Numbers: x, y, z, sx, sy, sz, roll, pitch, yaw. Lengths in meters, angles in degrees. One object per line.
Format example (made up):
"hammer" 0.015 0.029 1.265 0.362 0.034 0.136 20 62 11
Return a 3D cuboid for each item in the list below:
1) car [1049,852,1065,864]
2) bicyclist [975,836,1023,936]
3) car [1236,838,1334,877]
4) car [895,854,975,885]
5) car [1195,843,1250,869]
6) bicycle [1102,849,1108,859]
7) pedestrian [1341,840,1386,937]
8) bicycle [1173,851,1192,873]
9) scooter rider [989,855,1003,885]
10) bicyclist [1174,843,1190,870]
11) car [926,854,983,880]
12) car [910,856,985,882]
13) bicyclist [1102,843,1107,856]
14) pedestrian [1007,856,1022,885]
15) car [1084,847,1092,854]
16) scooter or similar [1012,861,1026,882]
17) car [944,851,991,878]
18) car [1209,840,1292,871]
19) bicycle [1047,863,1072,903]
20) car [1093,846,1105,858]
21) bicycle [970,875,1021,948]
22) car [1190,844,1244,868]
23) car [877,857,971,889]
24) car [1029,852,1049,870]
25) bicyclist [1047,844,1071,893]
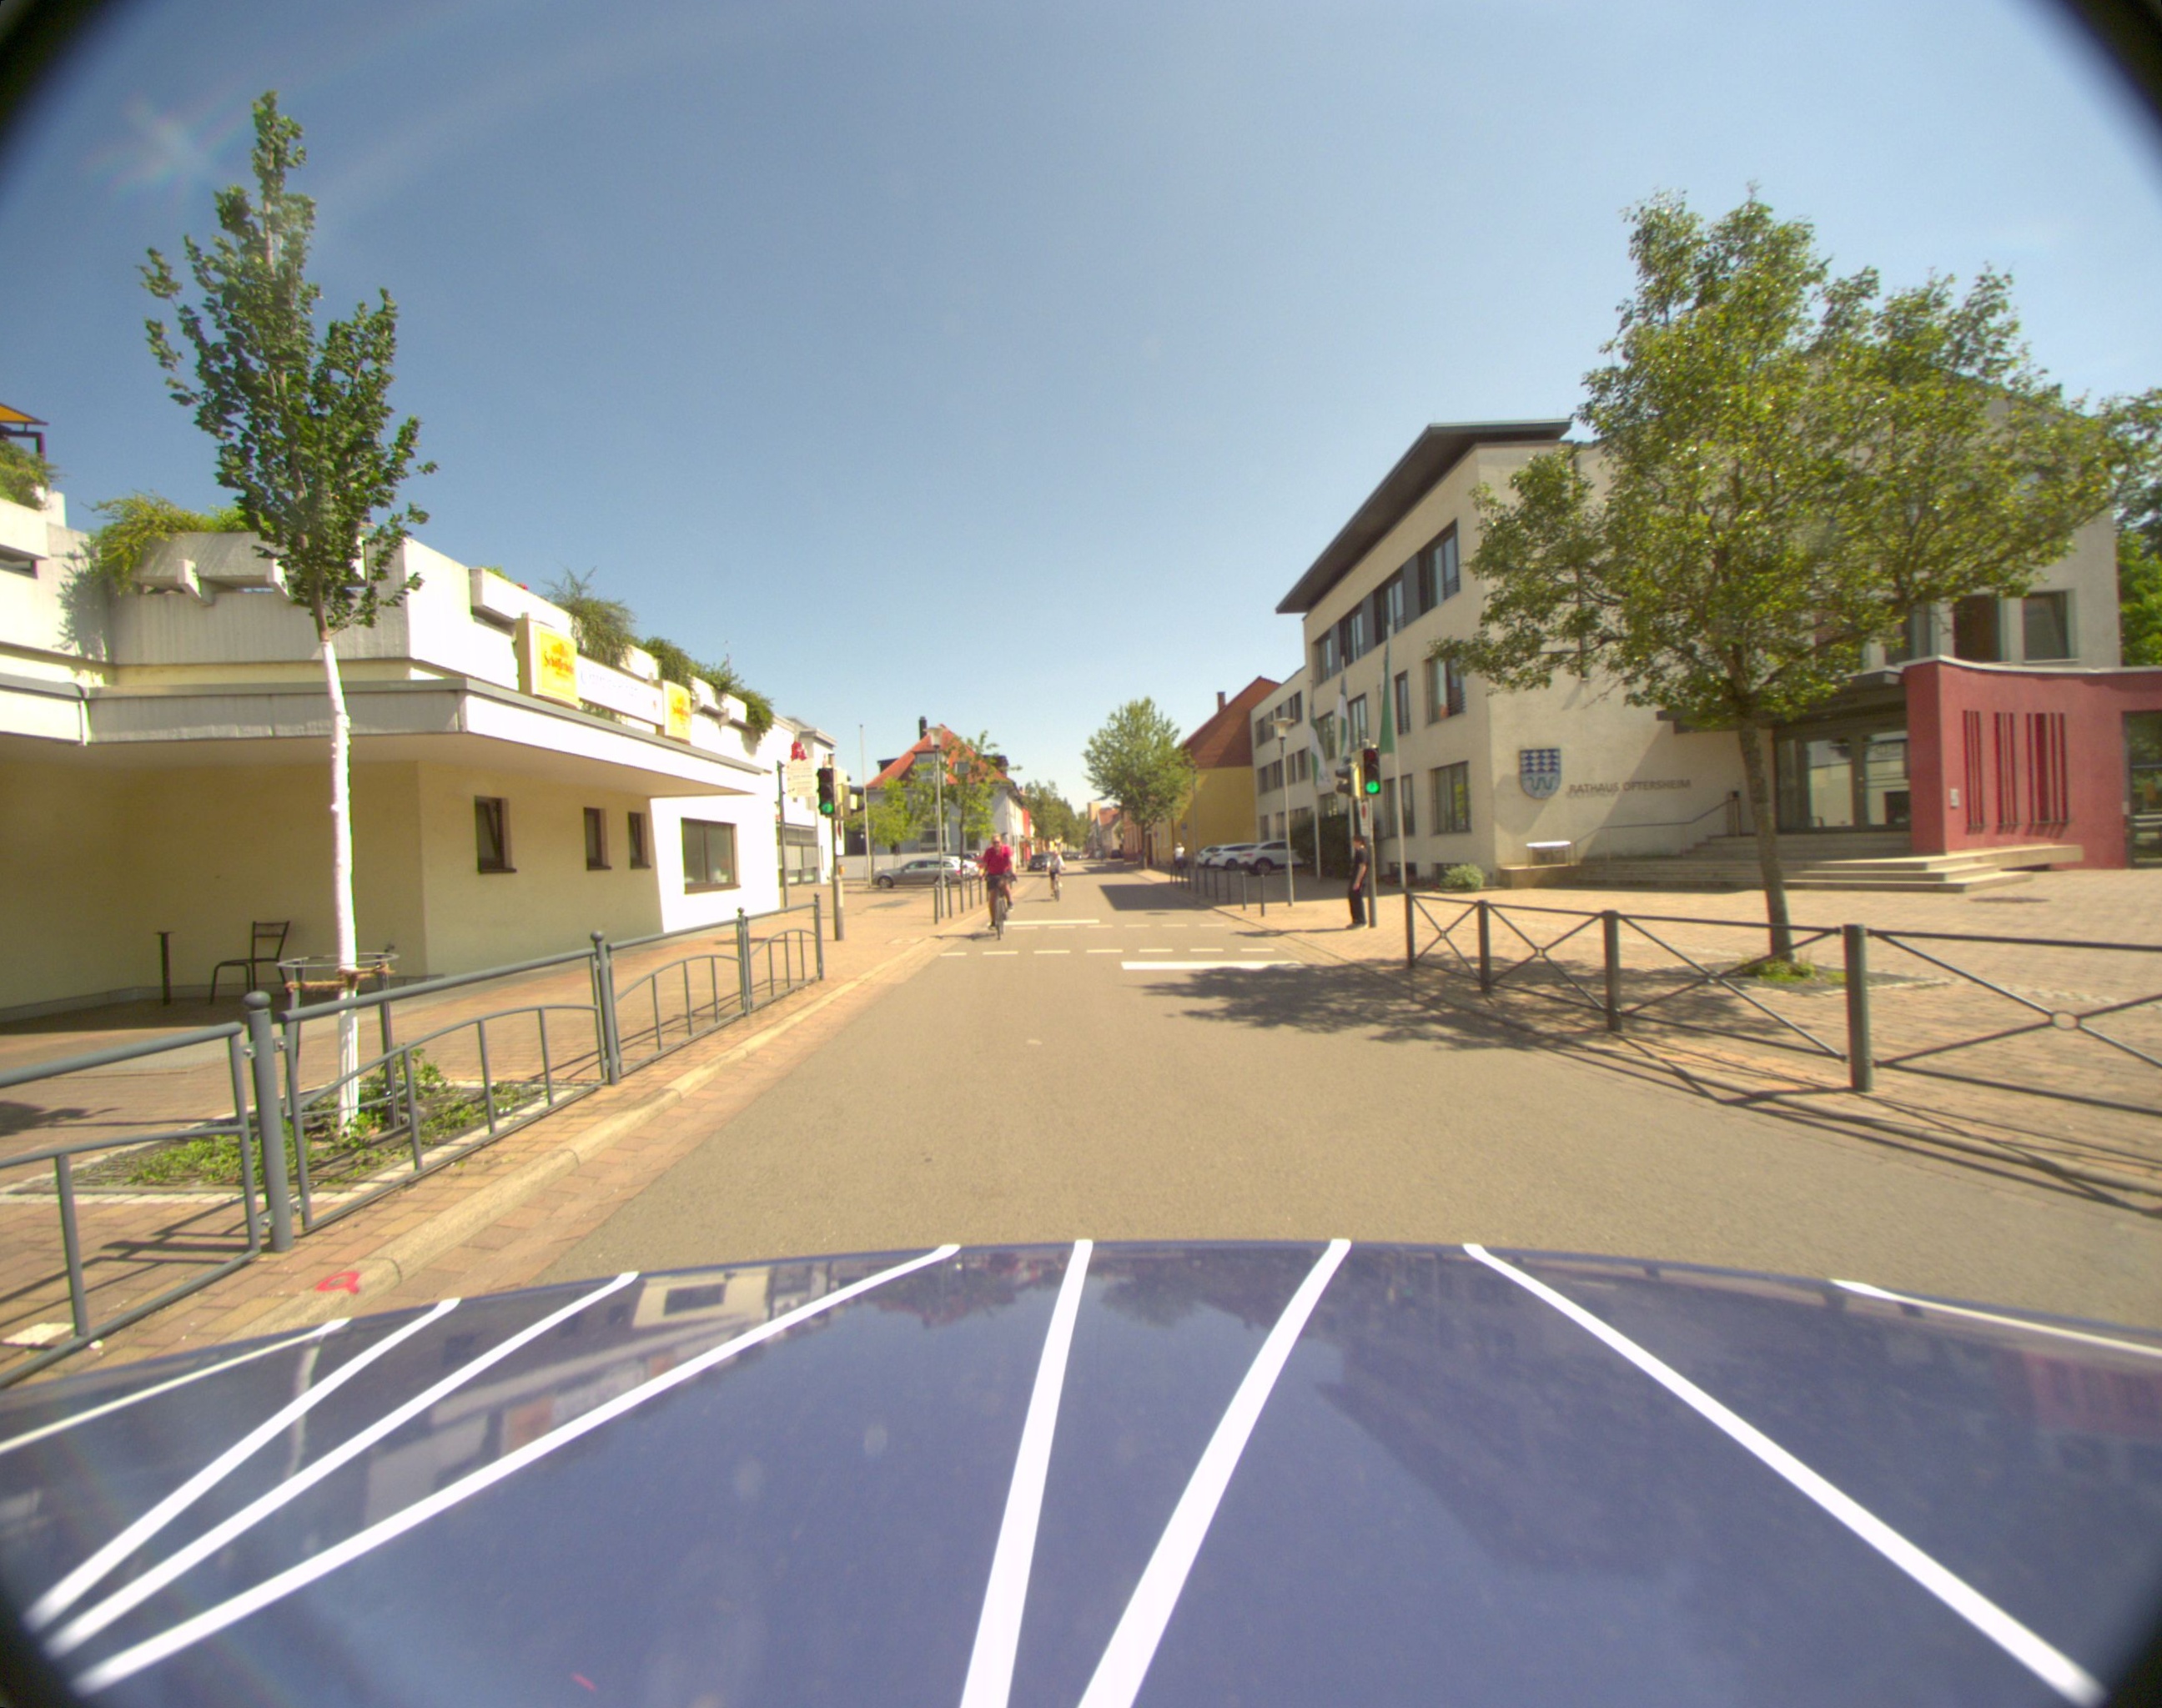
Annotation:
"car" -2.649 0.463 83.380 1.530 1.298 3.249 -1 0 -5
"bicyclist" -1.444 0.551 13.584 0.703 1.707 0.759 -3 2 -2
"car" 9.390 0.154 35.197 3.997 1.538 1.748 -4 1 -1
"car" -7.833 0.840 41.081 4.046 1.550 1.712 -1 1 -6
"car" 9.015 0.110 48.657 3.139 1.442 1.642 -4 1 1
"bicycle" 3.051 -0.035 97.383 0.595 1.183 1.725 -3 1 -1
"pedestrian" 4.865 0.588 13.086 0.548 1.609 0.558 -1 2 35
"bicycle" 5.740 0.440 43.009 0.710 1.245 1.971 -2 1 -2
"scooter rider" -3.936 0.728 35.344 0.462 1.317 1.133 -2 1 2
"bicyclist" 5.691 0.137 42.989 0.716 1.498 0.870 -2 1 -2
"car" -8.132 0.819 48.901 3.431 1.543 1.490 -2 1 -4
"car" -8.100 0.890 46.366 4.446 1.434 1.655 -1 1 -7
"bicyclist" 3.048 -0.610 97.471 0.538 1.630 0.551 -2 1 -1
"pedestrian" -3.580 0.877 40.908 0.512 1.507 1.049 -1 0 10
"car" 1.731 -0.860 188.569 1.999 1.696 3.999 -2 0 -1
"scooter or similar" -3.408 0.973 41.867 0.505 1.112 0.909 -1 1 10
"car" -7.603 0.694 51.040 3.041 1.727 1.344 -1 1 -5
"car" 9.651 0.080 43.461 4.324 1.470 1.513 -4 1 1
"bicycle" -0.731 0.945 25.330 0.690 1.183 1.799 -3 1 -3
"car" 2.858 -0.279 122.046 1.825 1.805 3.999 -2 0 -1
"bicycle" -1.499 0.989 13.662 0.738 1.182 1.971 -3 -1 -3
"car" 9.067 0.110 50.867 3.258 1.393 1.374 -4 1 -1
"car" -7.846 0.935 38.214 4.445 1.457 1.689 -1 1 -5
"car" -3.538 0.557 63.567 1.530 1.444 3.520 -2 0 -5
"bicyclist" -0.743 0.460 25.404 0.703 1.572 0.878 -3 2 -2
